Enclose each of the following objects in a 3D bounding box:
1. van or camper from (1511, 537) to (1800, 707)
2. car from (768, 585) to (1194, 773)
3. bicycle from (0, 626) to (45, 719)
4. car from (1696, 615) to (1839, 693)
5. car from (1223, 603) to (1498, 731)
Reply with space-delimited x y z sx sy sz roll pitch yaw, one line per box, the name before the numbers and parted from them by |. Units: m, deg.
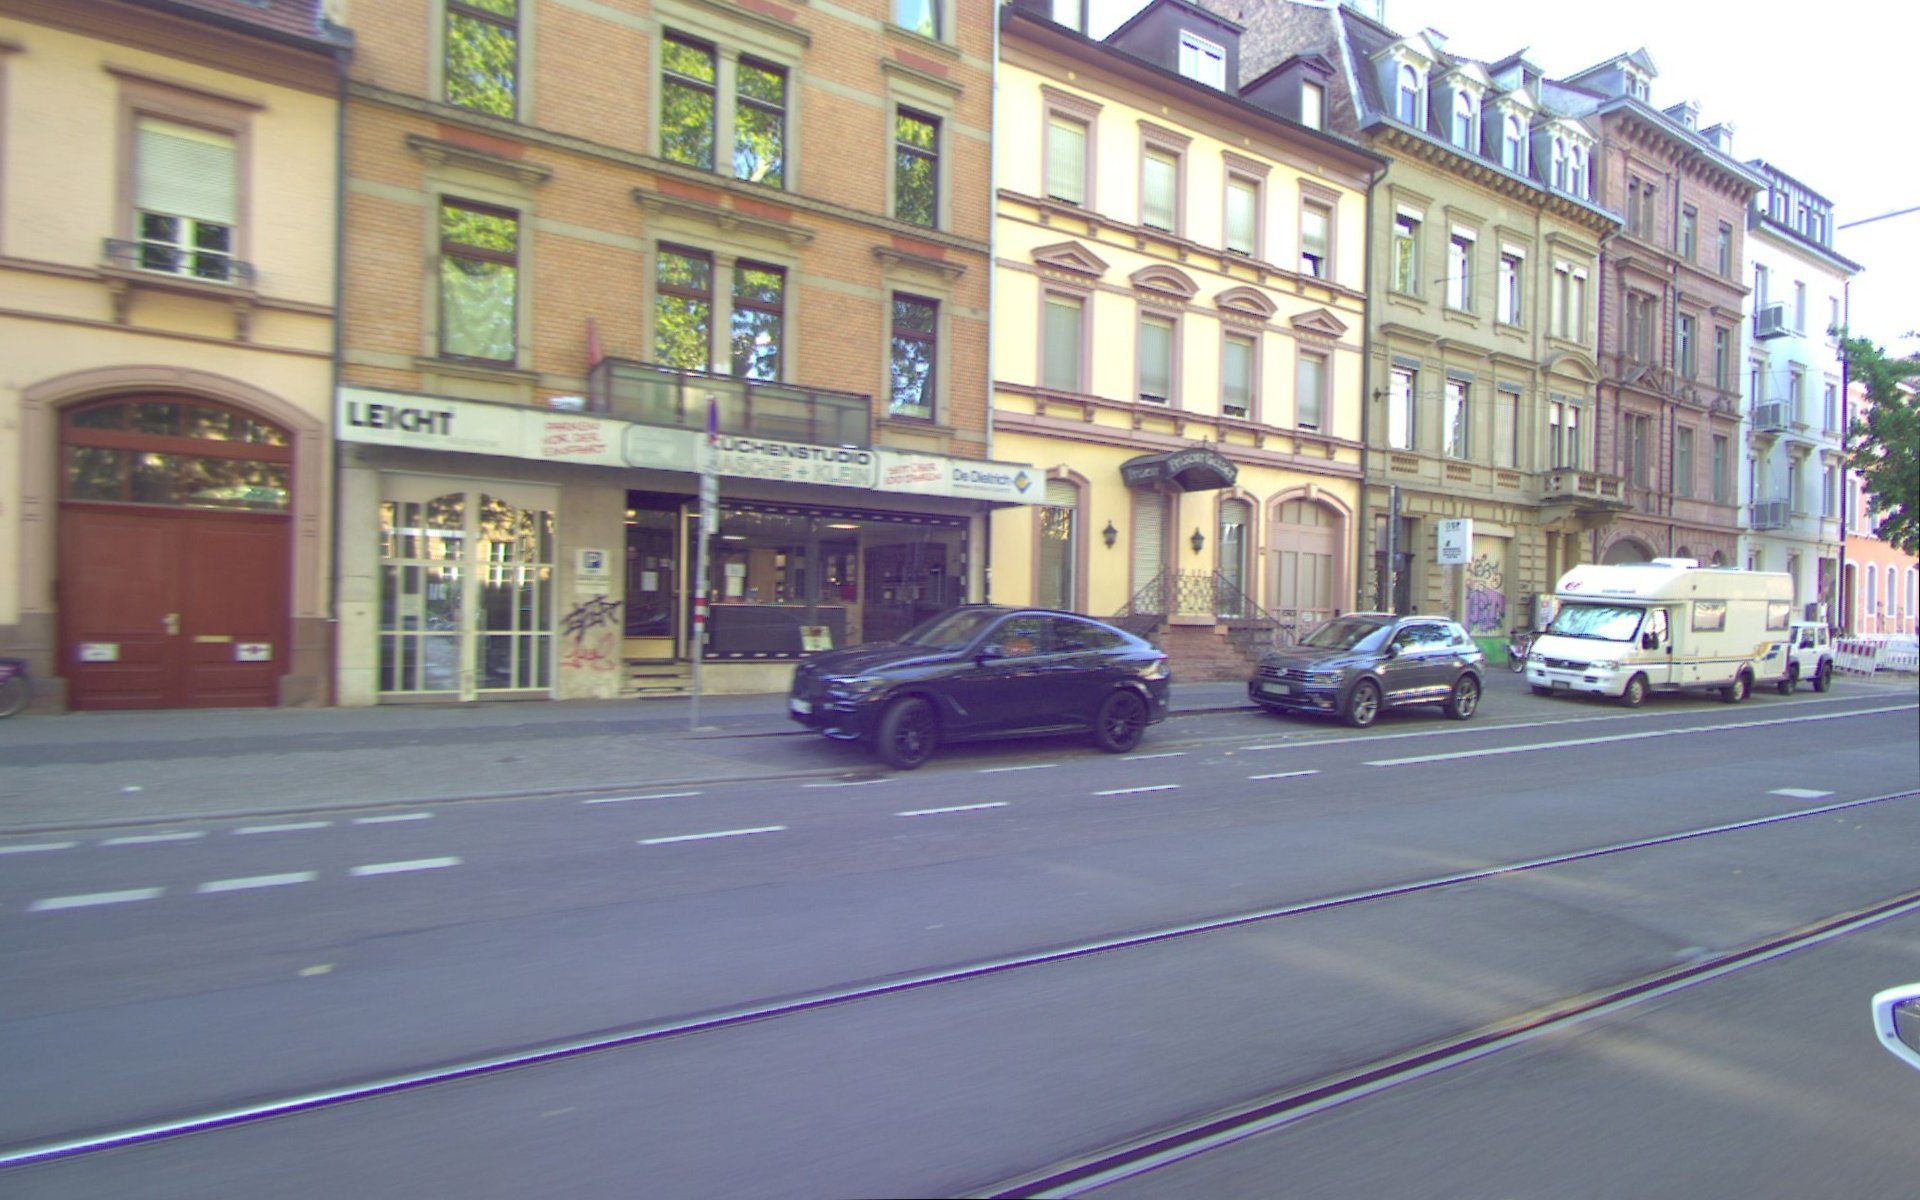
van or camper | 14.995 0.476 21.505 7.028 3.182 2.206 1 0 -30
car | 0.353 0.829 12.193 4.884 1.805 1.952 1 2 -33
bicycle | -11.216 0.794 11.013 1.703 1.028 0.297 1 -1 -31
car | 19.975 1.297 24.823 3.743 1.749 1.632 1 0 -33
car | 6.594 1.012 16.430 4.422 1.805 1.953 1 0 -33
